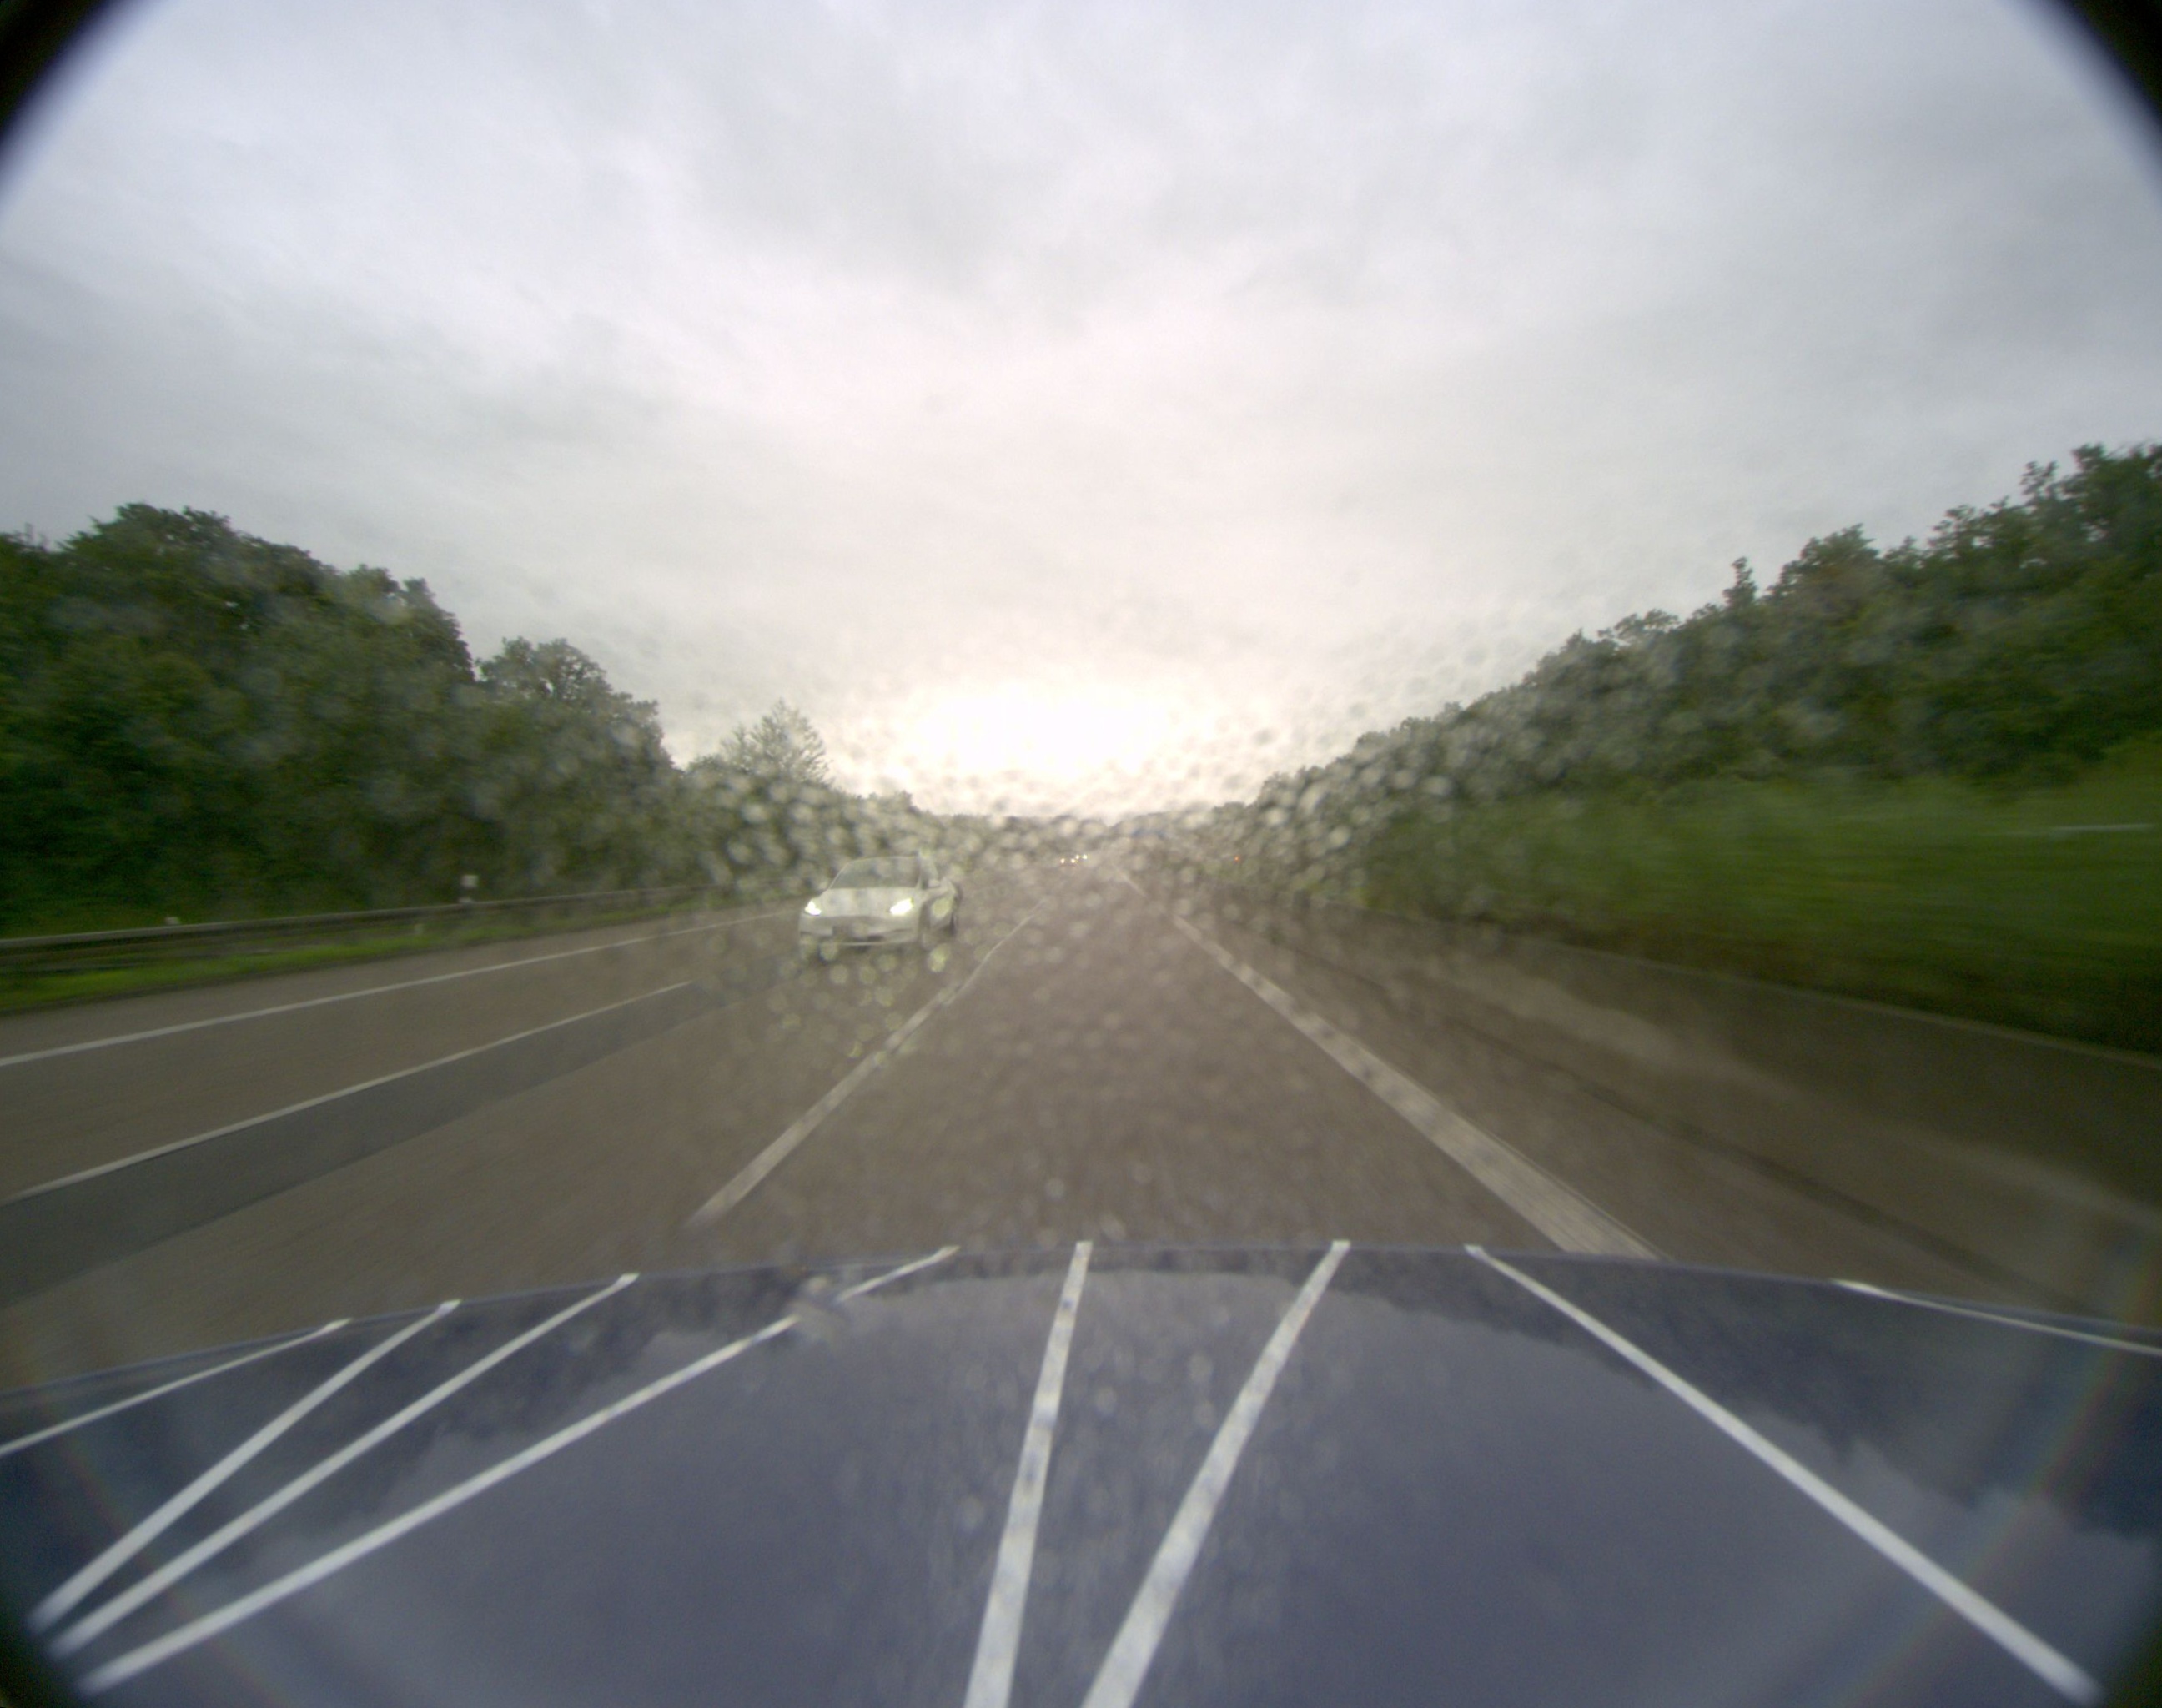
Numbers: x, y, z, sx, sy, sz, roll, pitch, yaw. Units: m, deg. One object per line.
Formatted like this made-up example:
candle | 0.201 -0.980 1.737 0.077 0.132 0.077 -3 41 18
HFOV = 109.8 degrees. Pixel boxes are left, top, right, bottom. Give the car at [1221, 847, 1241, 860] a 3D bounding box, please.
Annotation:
car | 18.900 -0.066 95.844 1.780 1.593 4.000 0 1 1

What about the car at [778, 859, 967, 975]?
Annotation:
car | -3.421 0.939 13.614 1.865 1.559 4.963 -2 1 1

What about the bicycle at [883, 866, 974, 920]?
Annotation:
bicycle | -3.305 0.840 16.587 1.757 1.084 0.913 -1 2 1

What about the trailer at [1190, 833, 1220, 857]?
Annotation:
trailer | 19.412 -1.433 119.679 2.995 3.465 13.255 0 1 2

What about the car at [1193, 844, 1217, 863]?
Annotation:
car | 13.716 -0.057 84.581 1.998 2.002 4.655 0 1 1

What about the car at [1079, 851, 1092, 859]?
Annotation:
car | 0.810 0.193 141.687 2.008 1.456 4.001 1 2 7

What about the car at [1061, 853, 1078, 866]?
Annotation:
car | -1.314 0.638 90.215 1.932 1.521 4.296 0 1 0
